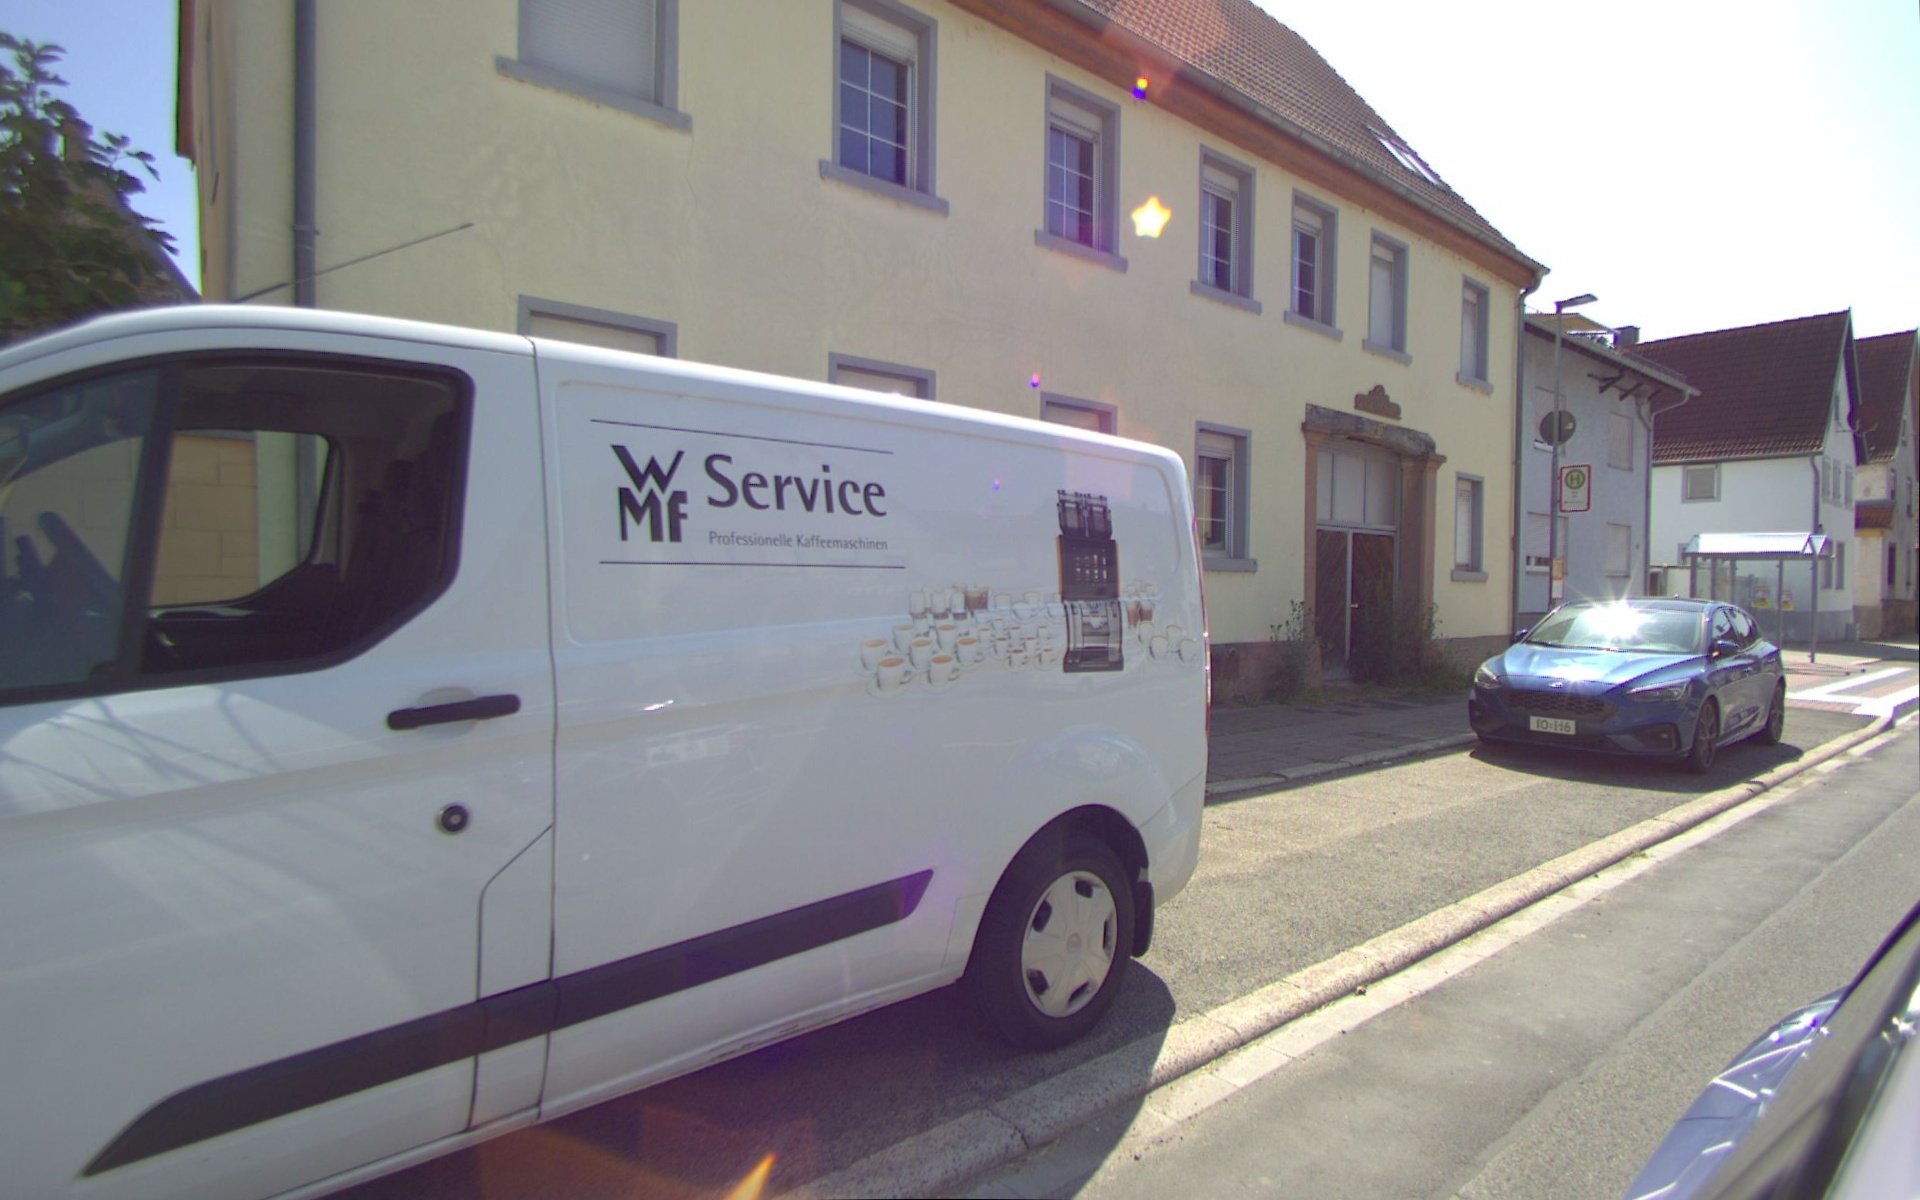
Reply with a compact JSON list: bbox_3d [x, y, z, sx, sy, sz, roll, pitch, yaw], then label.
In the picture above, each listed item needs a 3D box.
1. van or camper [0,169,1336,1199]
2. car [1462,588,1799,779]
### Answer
[{"bbox_3d":[-1.099,0.325,3.118,5.253,1.978,1.997,0,1,-41],"label":"van or camper"},{"bbox_3d":[6.528,0.634,9.689,3.916,1.445,1.731,0,1,-41],"label":"car"}]
